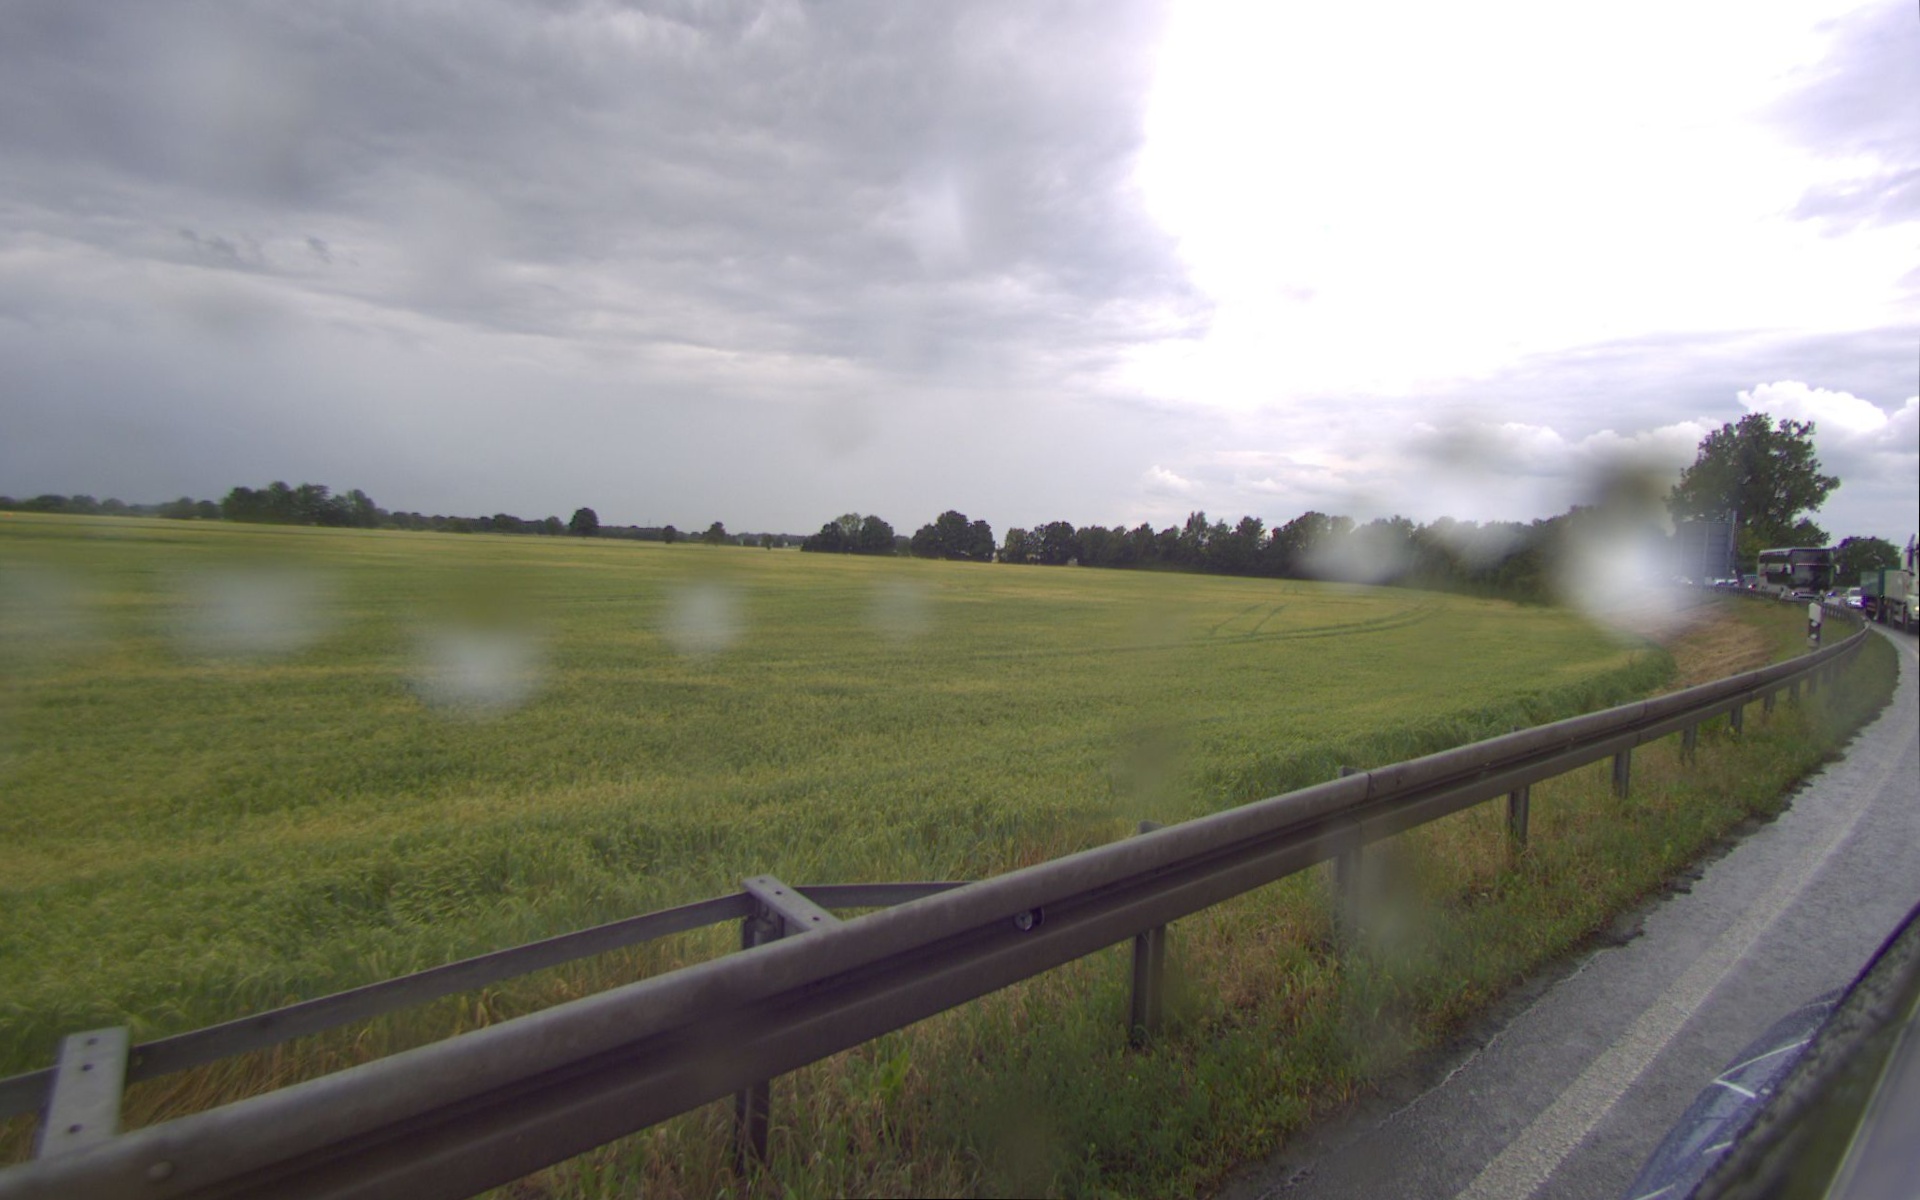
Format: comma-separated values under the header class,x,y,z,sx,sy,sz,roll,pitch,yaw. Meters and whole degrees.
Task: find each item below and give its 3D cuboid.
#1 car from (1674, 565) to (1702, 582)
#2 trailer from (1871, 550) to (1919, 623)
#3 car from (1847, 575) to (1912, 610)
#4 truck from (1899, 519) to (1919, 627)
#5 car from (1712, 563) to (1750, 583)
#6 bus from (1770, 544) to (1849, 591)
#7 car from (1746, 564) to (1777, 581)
class,x,y,z,sx,sy,sz,roll,pitch,yaw
car,92.383,-3.377,128.481,1.978,2.039,4.199,0,1,23
trailer,40.564,-0.613,42.135,2.970,2.666,15.464,0,1,39
car,50.769,-0.457,55.949,2.031,1.866,5.268,0,1,36
truck,35.277,-0.949,35.500,2.971,3.655,5.996,0,1,39
car,82.687,-2.883,108.654,1.977,2.039,5.295,0,1,23
bus,65.849,-2.535,78.759,2.944,3.353,14.665,0,2,33
car,75.082,-2.548,94.868,1.800,1.597,3.956,0,1,31
